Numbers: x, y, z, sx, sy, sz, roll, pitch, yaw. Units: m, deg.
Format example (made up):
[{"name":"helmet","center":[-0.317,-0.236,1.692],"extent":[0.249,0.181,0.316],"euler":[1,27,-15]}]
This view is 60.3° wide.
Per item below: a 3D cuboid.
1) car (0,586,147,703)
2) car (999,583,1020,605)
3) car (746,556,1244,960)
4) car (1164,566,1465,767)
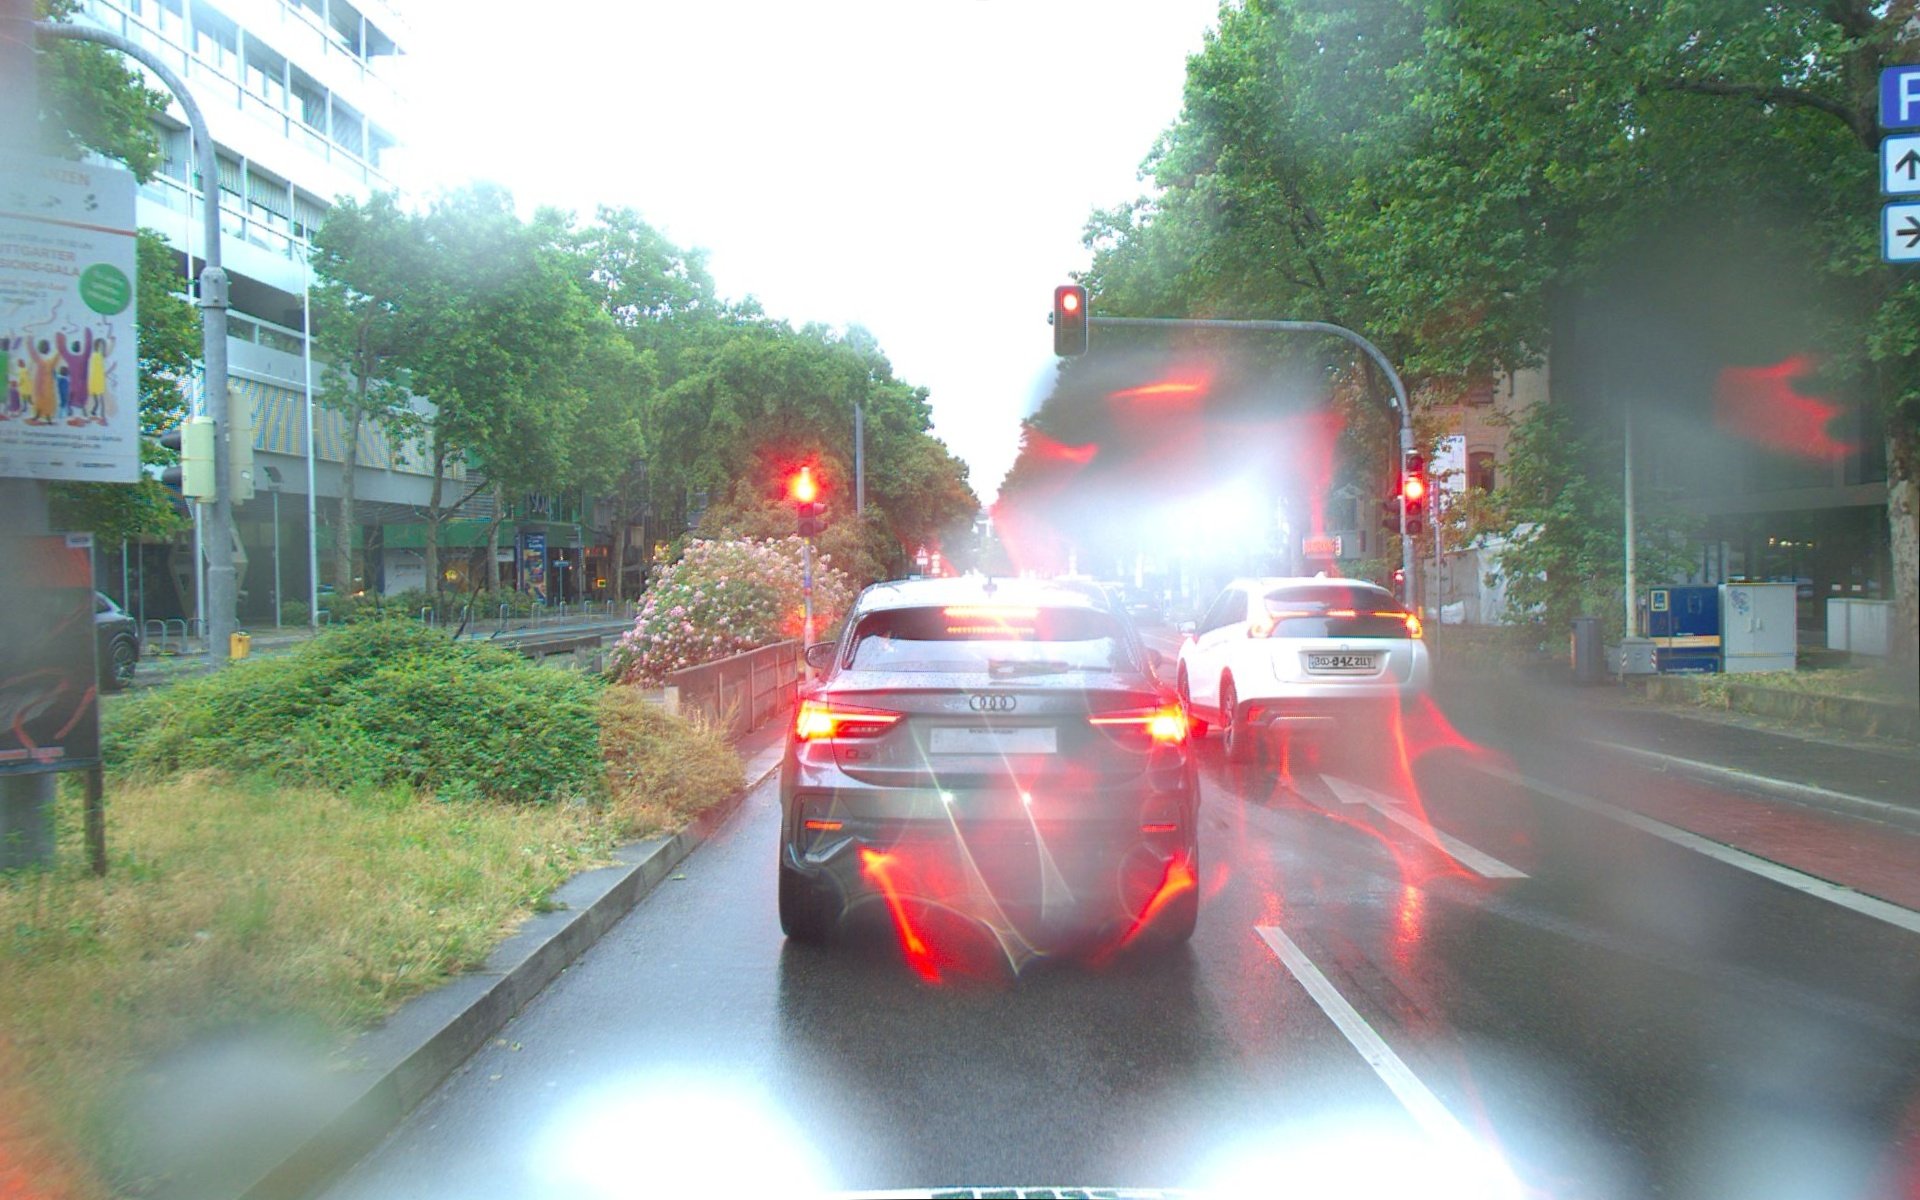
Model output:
[{"name":"car","center":[-13.867,0.595,24.089],"extent":[1.791,1.579,4.191],"euler":[0,1,3]},{"name":"car","center":[3.996,-0.512,133.403],"extent":[1.587,1.695,4.000],"euler":[-1,1,0]},{"name":"car","center":[0.140,0.555,8.258],"extent":[1.879,1.517,4.000],"euler":[0,1,0]},{"name":"car","center":[3.312,0.539,16.472],"extent":[1.953,1.684,4.889],"euler":[0,1,0]}]
